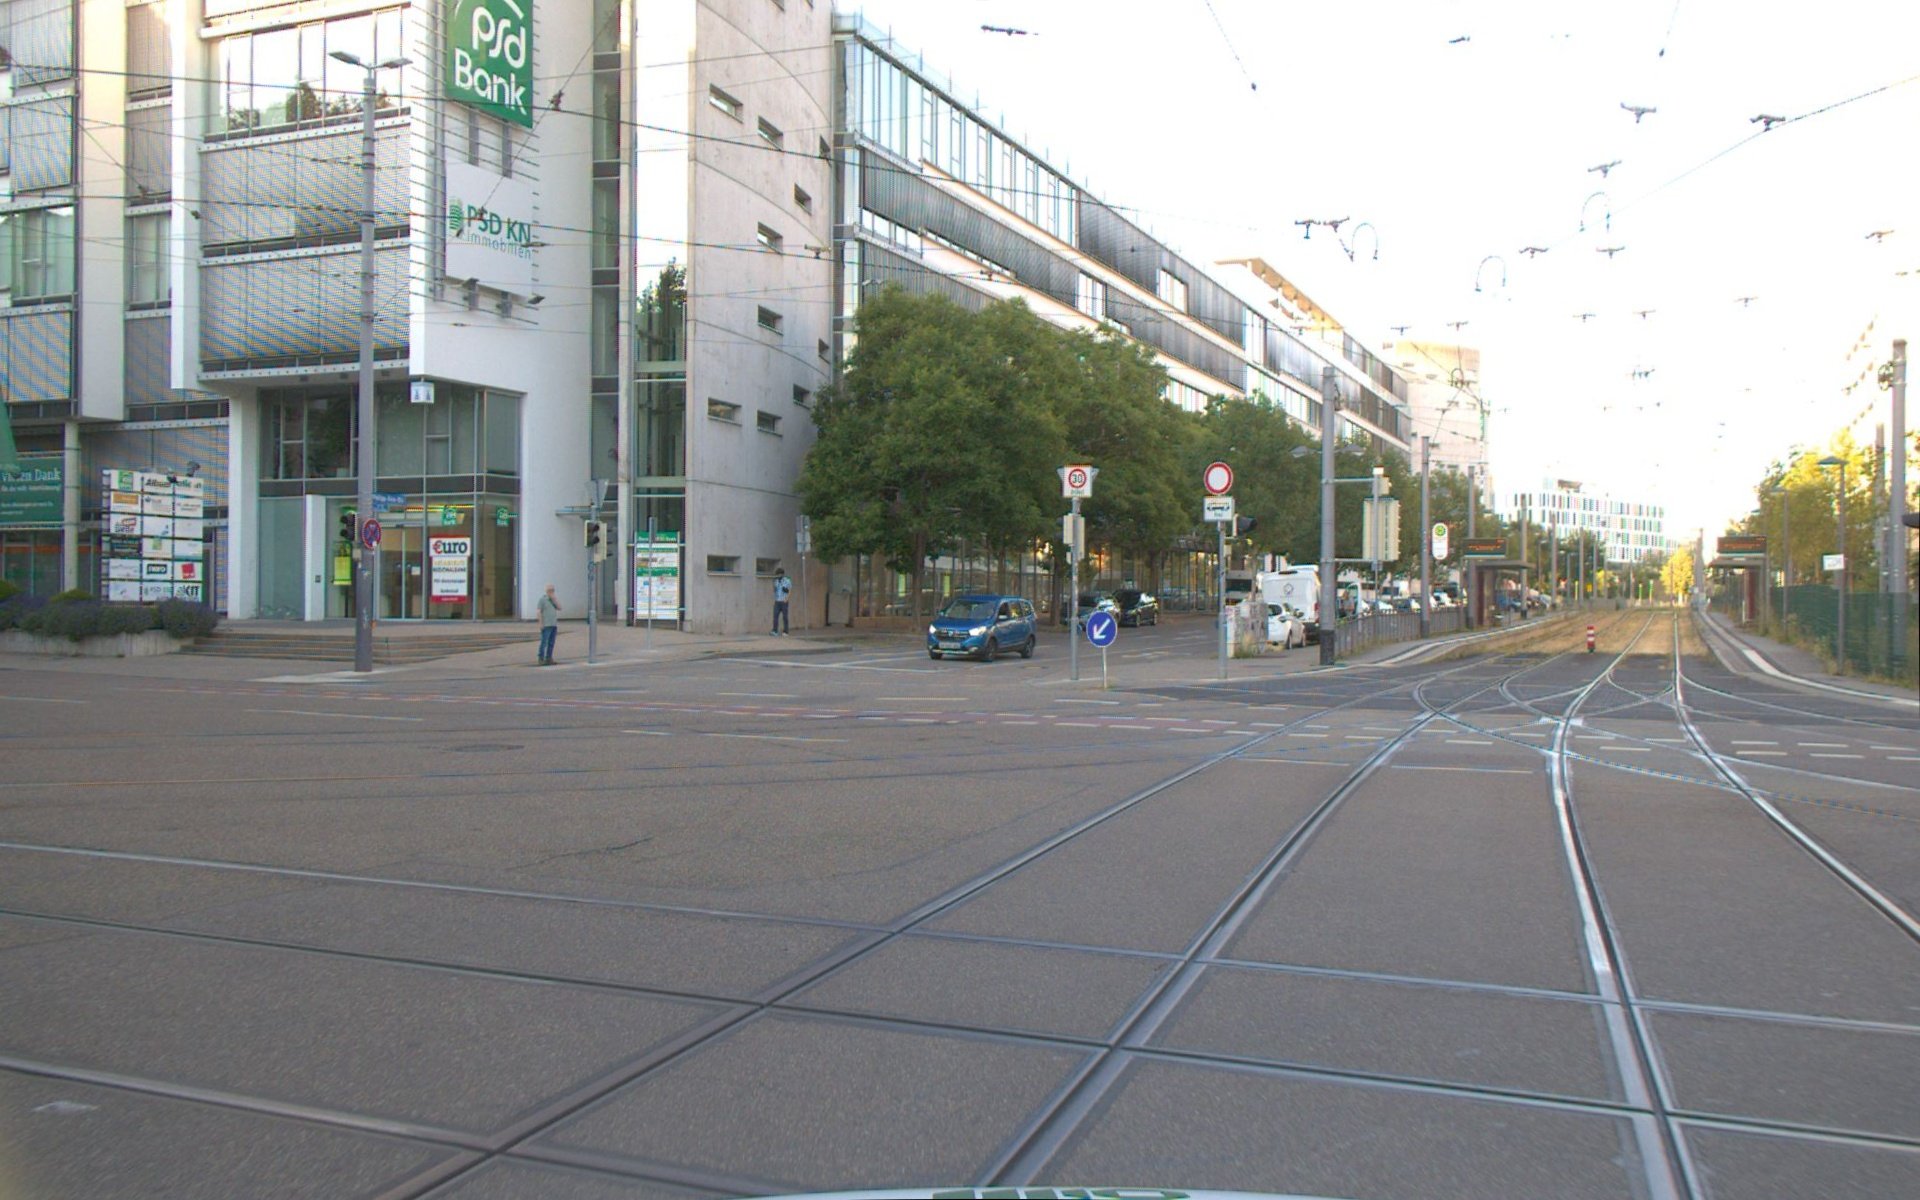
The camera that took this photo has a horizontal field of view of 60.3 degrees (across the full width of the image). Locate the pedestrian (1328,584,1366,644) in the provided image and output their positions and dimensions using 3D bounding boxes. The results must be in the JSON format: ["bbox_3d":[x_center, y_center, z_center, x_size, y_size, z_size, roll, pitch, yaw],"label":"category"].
[{"bbox_3d":[13.416,0.491,57.391,1.019,2.066,0.983,0,0,-4],"label":"pedestrian"}]

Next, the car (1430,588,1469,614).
[{"bbox_3d":[27.564,0.049,93.129,1.649,1.464,4.124,0,0,23],"label":"car"}]

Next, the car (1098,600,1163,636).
[{"bbox_3d":[7.643,0.767,73.821,1.649,1.528,4.237,0,0,24],"label":"car"}]

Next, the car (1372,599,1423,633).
[{"bbox_3d":[19.778,0.709,74.649,1.649,1.464,4.124,0,0,23],"label":"car"}]

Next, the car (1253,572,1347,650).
[{"bbox_3d":[11.783,0.337,57.025,2.410,2.526,5.810,0,0,19],"label":"car"}]

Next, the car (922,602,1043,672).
[{"bbox_3d":[0.669,0.936,44.162,1.649,1.729,4.236,0,0,25],"label":"car"}]

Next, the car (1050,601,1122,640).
[{"bbox_3d":[5.233,0.816,68.224,1.649,1.528,4.237,0,0,24],"label":"car"}]

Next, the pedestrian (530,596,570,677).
[{"bbox_3d":[-9.025,0.796,36.408,0.537,1.741,0.658,0,0,33],"label":"pedestrian"}]

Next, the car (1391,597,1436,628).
[{"bbox_3d":[22.576,0.590,82.285,1.649,1.464,4.124,0,0,23],"label":"car"}]

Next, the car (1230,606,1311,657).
[{"bbox_3d":[9.715,0.954,51.573,1.649,1.464,4.124,0,0,23],"label":"car"}]

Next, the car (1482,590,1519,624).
[{"bbox_3d":[33.563,0.417,102.587,1.953,2.049,4.000,0,0,22],"label":"car"}]

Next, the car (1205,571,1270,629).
[{"bbox_3d":[15.807,-0.018,93.965,2.157,3.207,6.140,0,0,24],"label":"car"}]

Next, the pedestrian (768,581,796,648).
[{"bbox_3d":[-5.247,0.423,48.757,0.647,1.956,0.548,0,0,12],"label":"pedestrian"}]
